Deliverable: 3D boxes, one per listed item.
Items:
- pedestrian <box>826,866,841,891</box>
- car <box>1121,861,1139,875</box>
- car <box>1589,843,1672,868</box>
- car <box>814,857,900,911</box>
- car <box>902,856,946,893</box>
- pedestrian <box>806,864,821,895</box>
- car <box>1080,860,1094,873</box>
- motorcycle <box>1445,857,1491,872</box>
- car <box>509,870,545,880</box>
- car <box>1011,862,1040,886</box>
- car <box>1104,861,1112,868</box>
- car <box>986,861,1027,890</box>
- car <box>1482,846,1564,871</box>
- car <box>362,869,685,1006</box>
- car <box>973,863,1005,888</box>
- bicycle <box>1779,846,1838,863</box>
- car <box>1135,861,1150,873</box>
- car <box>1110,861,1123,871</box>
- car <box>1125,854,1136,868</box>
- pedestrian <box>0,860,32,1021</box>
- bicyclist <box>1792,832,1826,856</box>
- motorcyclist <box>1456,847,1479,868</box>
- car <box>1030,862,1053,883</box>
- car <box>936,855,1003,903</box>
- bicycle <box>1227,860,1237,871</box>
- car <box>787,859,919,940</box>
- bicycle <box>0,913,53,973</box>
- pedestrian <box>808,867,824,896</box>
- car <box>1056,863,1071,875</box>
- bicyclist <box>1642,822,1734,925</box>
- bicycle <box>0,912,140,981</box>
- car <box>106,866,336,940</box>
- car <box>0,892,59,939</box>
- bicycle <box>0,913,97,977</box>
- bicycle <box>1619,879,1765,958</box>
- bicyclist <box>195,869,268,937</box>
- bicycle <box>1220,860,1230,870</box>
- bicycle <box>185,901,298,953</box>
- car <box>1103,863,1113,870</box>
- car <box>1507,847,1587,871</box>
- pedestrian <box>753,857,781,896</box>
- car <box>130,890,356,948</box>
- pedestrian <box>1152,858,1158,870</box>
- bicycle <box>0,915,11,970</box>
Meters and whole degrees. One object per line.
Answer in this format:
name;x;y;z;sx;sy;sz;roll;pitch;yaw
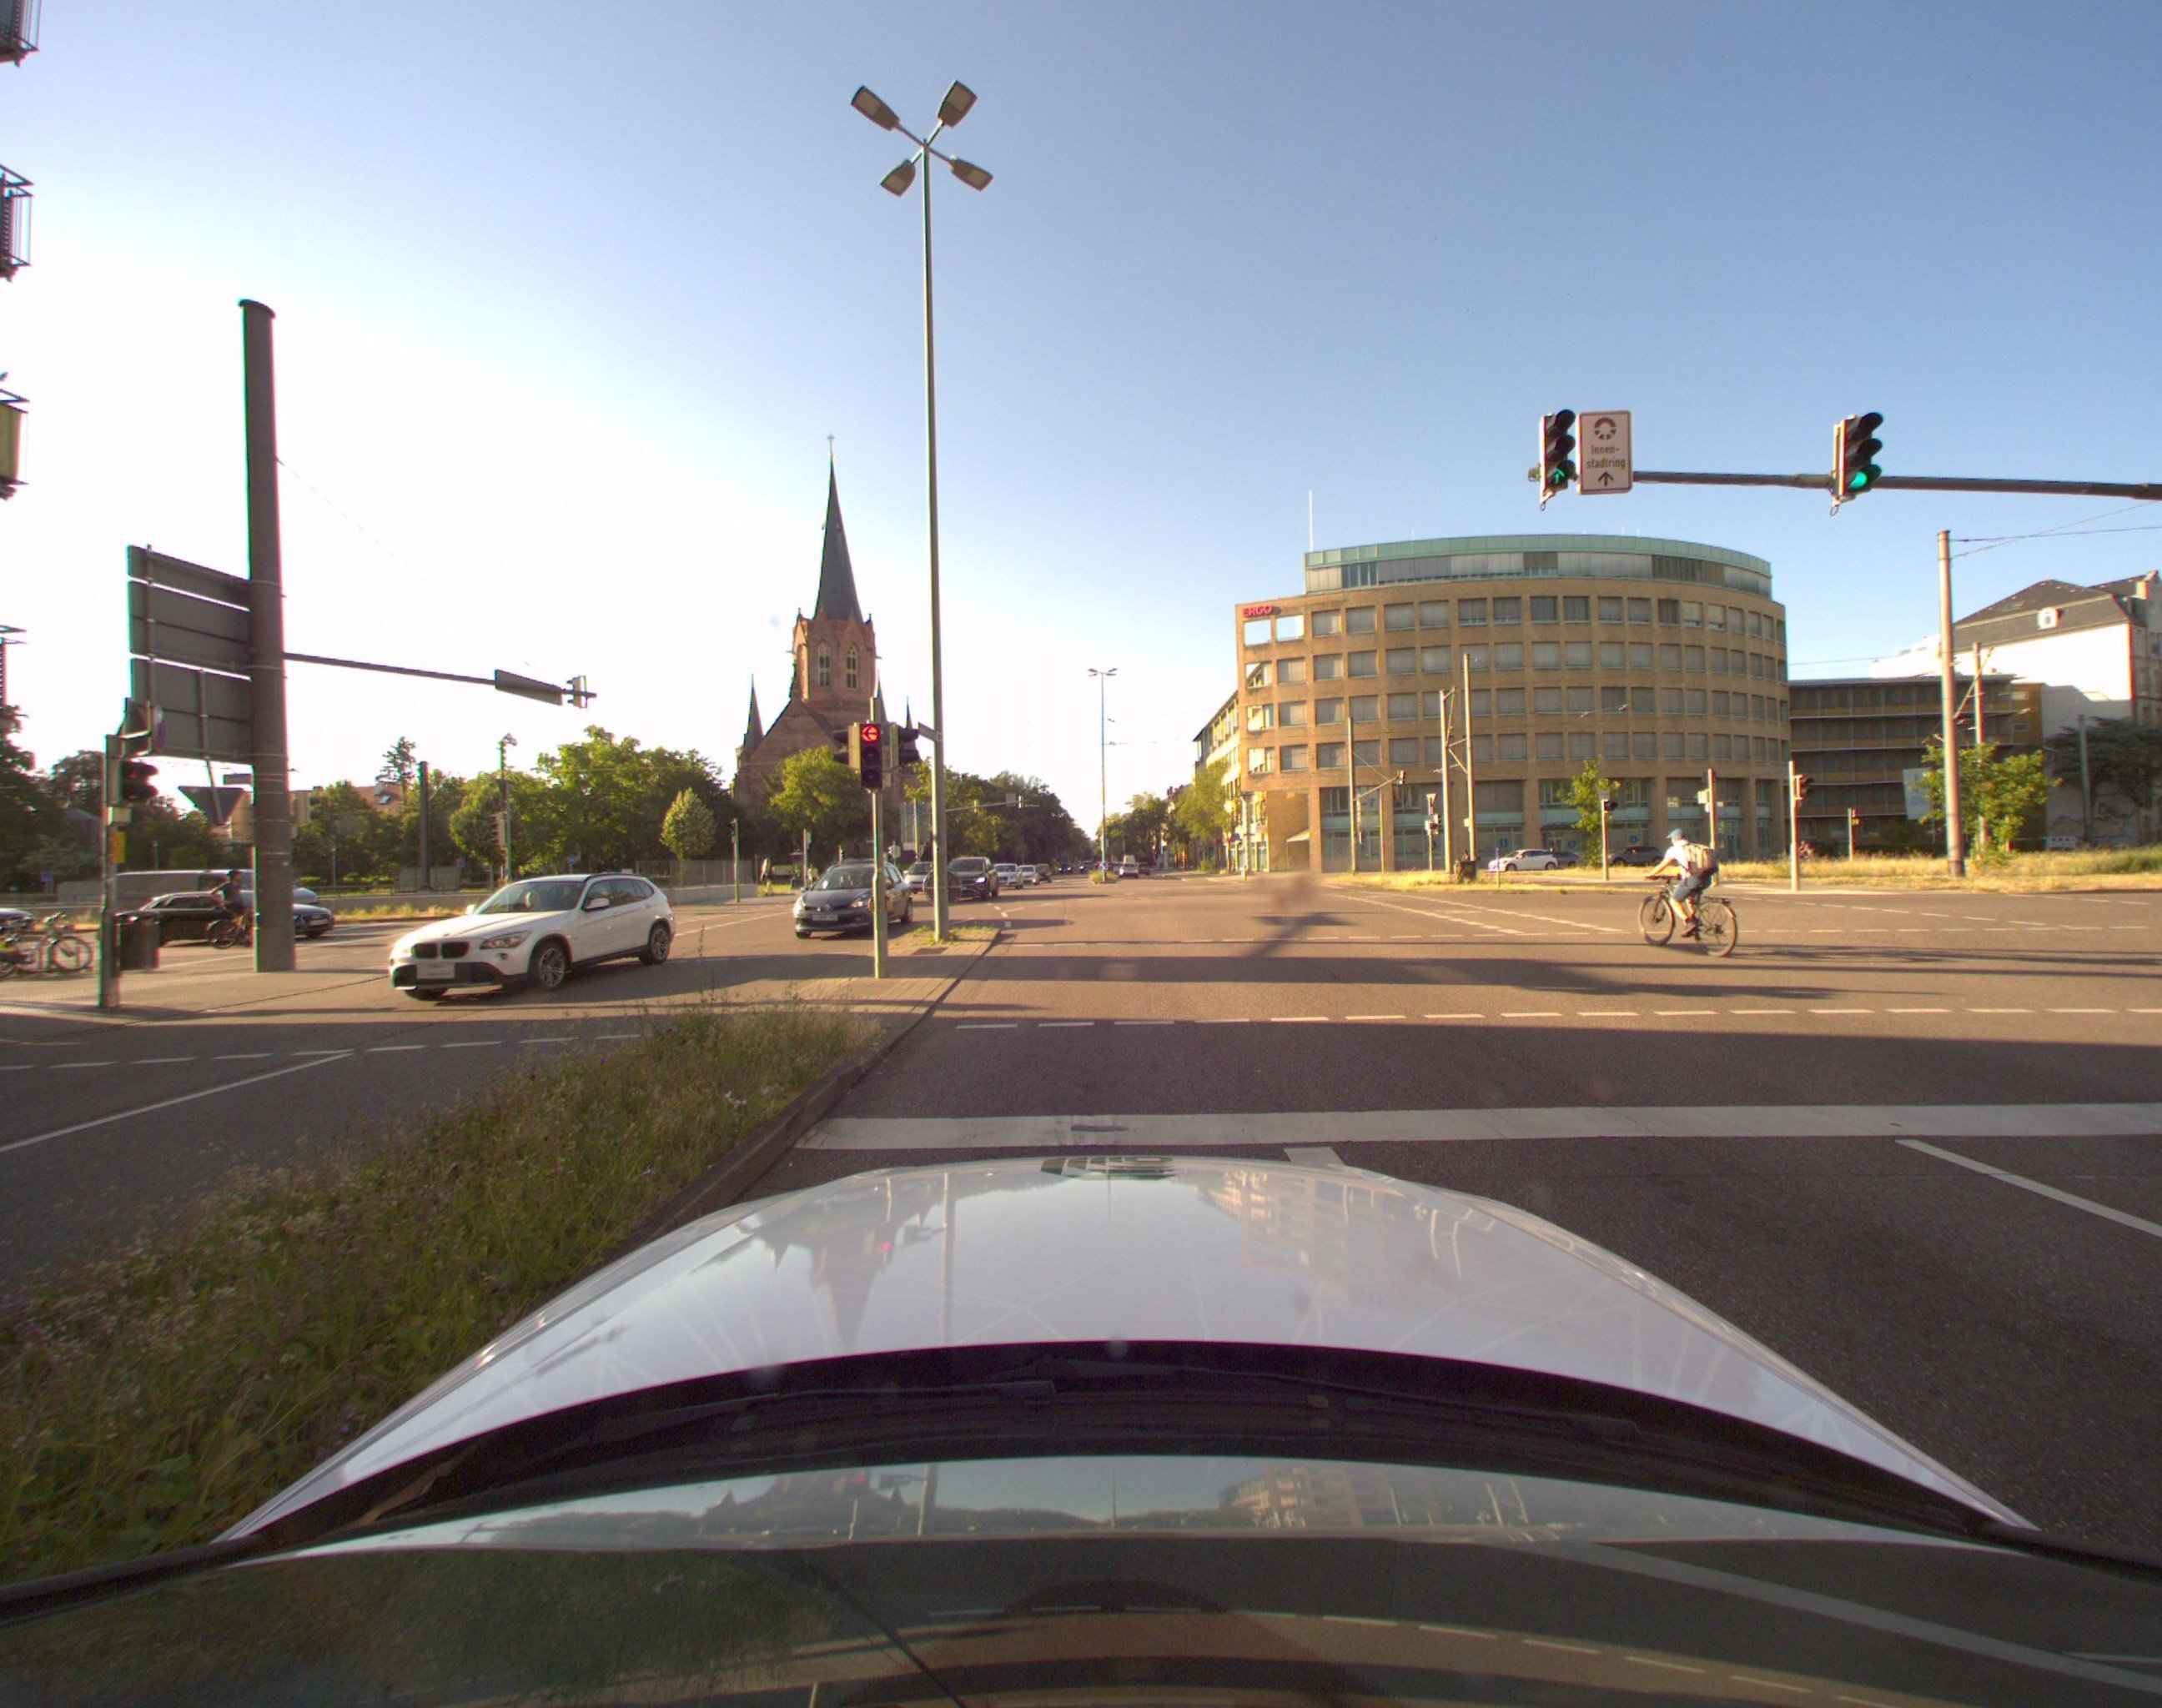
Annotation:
pedestrian;-16.899;1.649;55.575;0.841;1.696;1.014;0;-1;-7
car;4.669;1.323;77.644;1.589;1.267;3.268;-2;0;2
car;35.105;0.109;52.077;4.038;1.492;1.820;-2;-1;0
car;-7.597;0.959;27.994;1.714;1.628;4.102;-3;0;0
car;-7.338;0.943;38.268;1.531;1.593;2.806;-3;0;-2
pedestrian;-14.940;1.411;45.469;0.708;1.696;0.892;0;-1;-12
car;0.852;1.818;118.018;1.987;1.724;5.031;-2;-1;1
motorcycle;27.112;0.735;57.112;2.709;0.964;1.032;-2;-1;0
car;-92.108;3.480;135.528;4.451;1.571;1.993;-2;-1;-11
car;-3.917;1.379;57.982;1.669;1.544;3.807;-3;0;1
car;5.223;1.988;156.612;1.589;1.267;3.268;-2;0;2
car;-4.091;1.172;45.367;1.702;1.425;4.103;-3;0;1
car;28.226;0.304;52.069;4.150;1.492;1.994;-2;-1;-1
car;-7.792;1.053;11.998;1.747;1.488;4.248;-3;0;0
car;-6.467;1.490;57.602;1.669;1.544;3.639;-3;0;1
bicycle;48.945;0.038;54.786;2.951;1.000;1.154;-2;-1;-1
car;7.054;1.449;93.258;1.589;1.267;3.268;-2;0;2
car;4.681;1.574;106.861;1.589;1.267;3.268;-2;0;2
car;8.817;1.297;145.456;1.986;2.440;4.001;0;-1;2
pedestrian;-12.975;1.012;9.410;0.606;1.875;0.812;1;0;2
bicyclist;48.971;-0.669;54.792;1.219;1.572;1.154;-2;-1;-1
motorcyclist;27.114;0.261;57.121;1.061;1.435;1.032;-2;-1;0
car;-3.318;1.513;68.371;1.572;1.544;3.478;-3;0;1
car;-4.085;0.868;30.355;1.669;1.544;4.105;-3;0;2
bicycle;15.013;1.149;80.927;0.644;0.994;2.081;-2;-1;1
car;-4.846;0.902;17.882;1.586;1.471;3.987;-3;0;2
bicycle;-20.381;1.681;14.692;0.732;1.051;2.300;-2;-1;1
pedestrian;-15.742;1.604;48.408;0.842;1.696;1.012;0;-1;-12
car;-2.638;2.318;123.263;1.987;1.724;4.593;-2;-1;1
bicyclist;8.368;0.262;11.265;0.590;1.369;0.930;0;0;2
bicycle;-18.764;1.657;14.752;0.732;1.051;2.300;-2;0;1
car;-26.634;1.481;25.367;4.908;2.014;1.999;-2;-1;-1
car;-35.136;1.986;25.494;3.889;1.374;1.800;-2;-1;-1
bicycle;-19.569;1.679;14.728;0.732;1.051;2.300;-2;-1;1
bicycle;8.367;0.848;11.277;0.590;0.943;1.979;0;0;2
bicyclist;-21.097;1.197;20.246;0.733;1.598;0.963;-3;0;1
bicycle;15.108;1.188;85.478;0.644;0.994;2.081;-2;-1;1
bicycle;-20.846;1.801;20.247;1.770;1.097;0.952;-3;0;1
car;4.750;2.208;144.057;1.589;1.267;3.268;-2;0;2
car;32.575;0.353;57.044;4.465;1.537;1.987;-2;-1;2
pedestrian;-14.411;1.046;37.414;0.962;1.739;0.812;-1;-1;-1
car;-22.685;1.737;22.167;4.175;1.312;1.800;-2;-1;-1
pedestrian;12.019;1.623;131.529;0.844;1.803;0.776;-2;0;1
bicycle;-21.172;1.713;14.660;0.732;1.051;2.300;-2;-1;1
